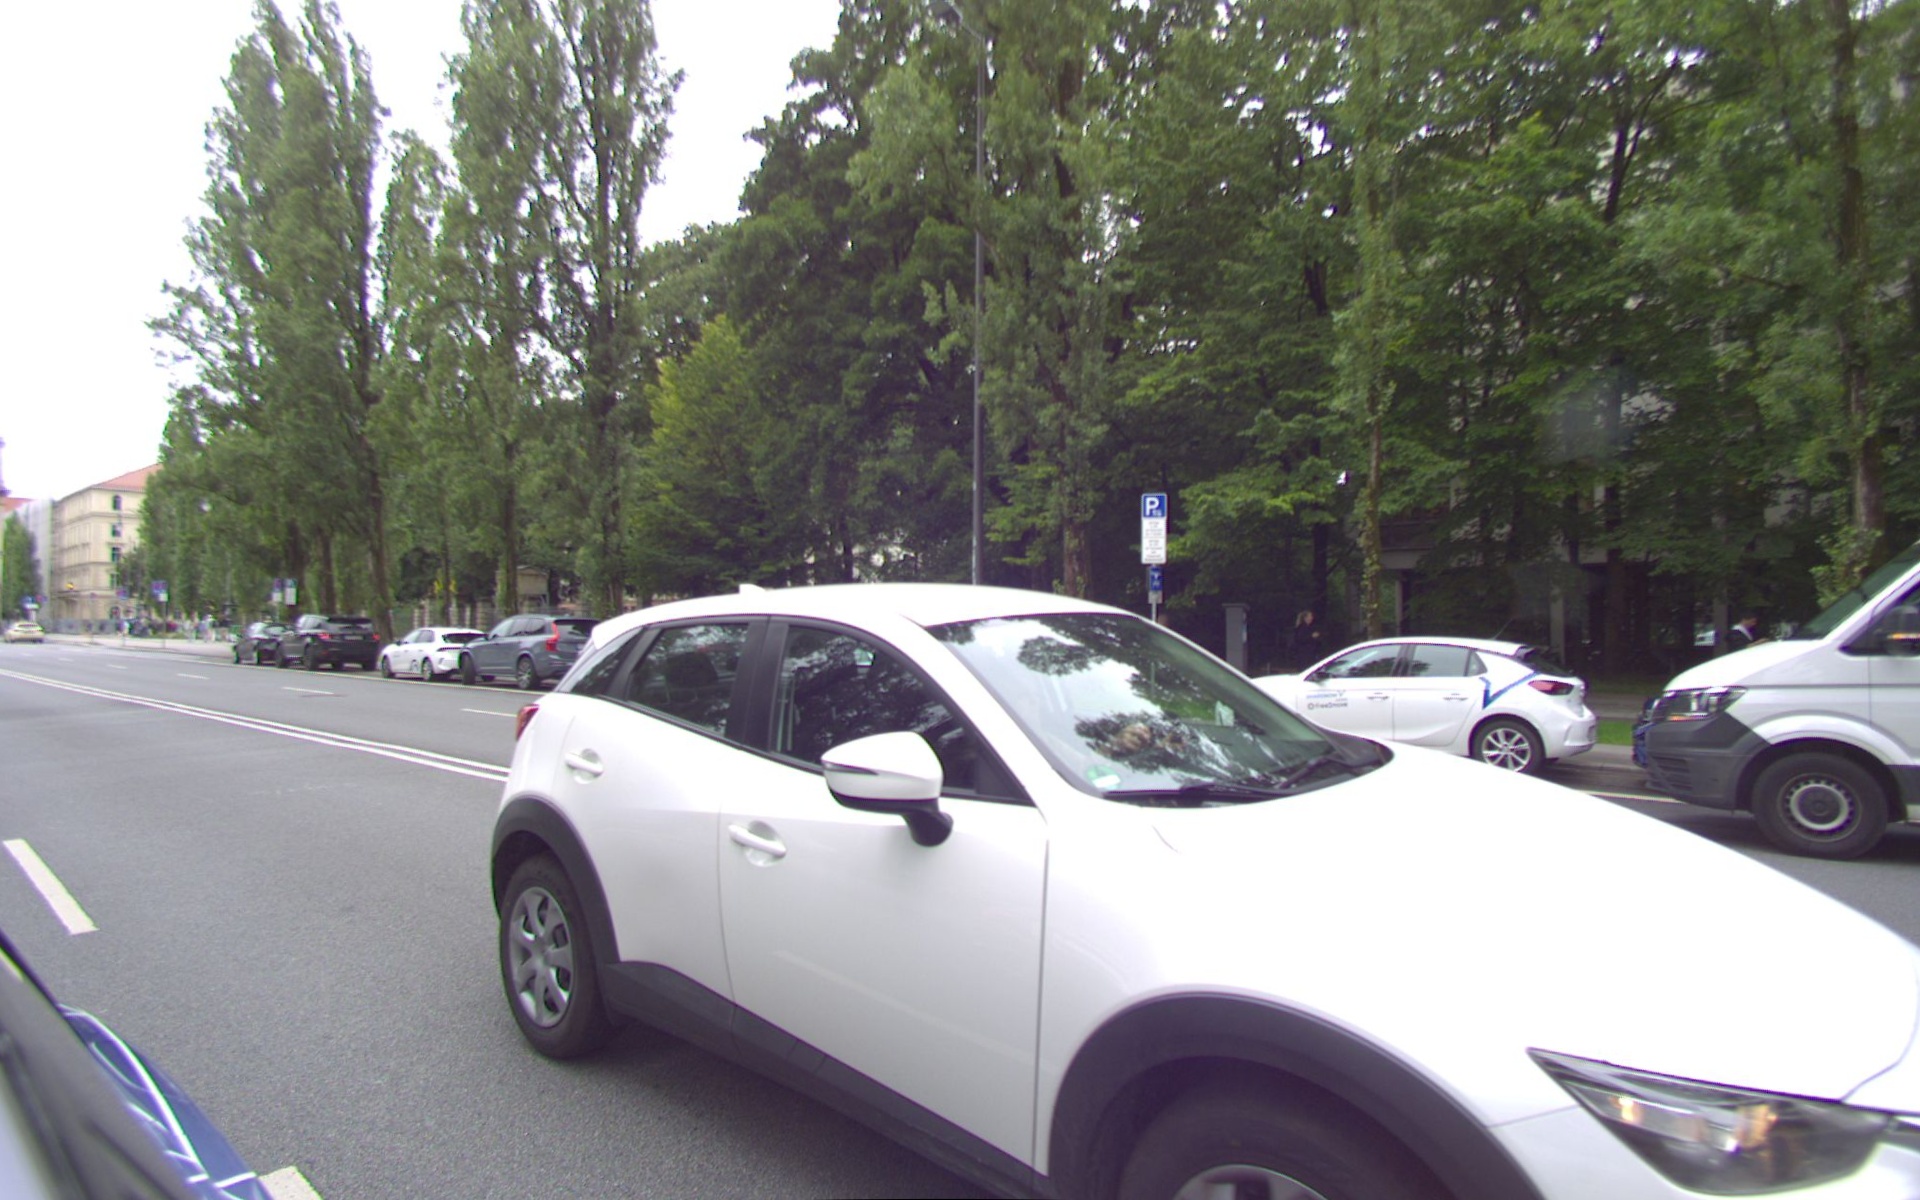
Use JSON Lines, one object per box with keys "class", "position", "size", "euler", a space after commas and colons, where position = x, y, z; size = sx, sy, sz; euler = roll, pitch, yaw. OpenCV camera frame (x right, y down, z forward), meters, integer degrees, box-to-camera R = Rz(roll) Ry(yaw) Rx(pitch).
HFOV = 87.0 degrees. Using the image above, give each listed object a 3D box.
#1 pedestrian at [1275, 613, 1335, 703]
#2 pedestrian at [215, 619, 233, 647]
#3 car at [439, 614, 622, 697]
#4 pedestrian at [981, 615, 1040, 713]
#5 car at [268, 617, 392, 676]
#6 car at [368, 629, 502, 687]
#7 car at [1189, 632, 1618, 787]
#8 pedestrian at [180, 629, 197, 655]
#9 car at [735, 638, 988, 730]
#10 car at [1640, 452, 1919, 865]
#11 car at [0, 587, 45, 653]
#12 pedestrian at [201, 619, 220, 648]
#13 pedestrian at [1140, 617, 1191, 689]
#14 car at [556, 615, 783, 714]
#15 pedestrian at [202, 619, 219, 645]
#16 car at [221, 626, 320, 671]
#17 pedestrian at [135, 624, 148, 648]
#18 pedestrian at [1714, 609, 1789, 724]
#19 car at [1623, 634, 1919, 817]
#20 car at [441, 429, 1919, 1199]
{"class": "pedestrian", "position": [6.969, 1.153, 20.462], "size": [0.956, 1.755, 0.659], "euler": [-2, -2, 41]}
{"class": "pedestrian", "position": [-47.790, 2.153, 65.712], "size": [1.092, 1.786, 0.702], "euler": [-1, -2, 39]}
{"class": "car", "position": [-10.504, 1.318, 24.553], "size": [5.175, 1.803, 1.890], "euler": [-1, -5, 40]}
{"class": "pedestrian", "position": [0.892, 1.105, 17.821], "size": [0.751, 1.677, 0.730], "euler": [-2, -3, 41]}
{"class": "car", "position": [-20.808, 1.526, 33.341], "size": [4.796, 1.800, 2.025], "euler": [-1, -4, 40]}
{"class": "car", "position": [-14.446, 1.572, 27.764], "size": [4.269, 1.470, 1.687], "euler": [-1, -4, 40]}
{"class": "car", "position": [4.985, 1.142, 11.691], "size": [4.229, 1.463, 1.753], "euler": [-1, -4, 39]}
{"class": "pedestrian", "position": [-50.375, 2.741, 66.109], "size": [0.885, 1.713, 0.681], "euler": [-2, -2, 40]}
{"class": "car", "position": [-1.741, 1.351, 17.137], "size": [4.230, 1.344, 1.808], "euler": [-1, -4, 40]}
{"class": "car", "position": [8.036, 0.362, 5.734], "size": [6.751, 2.502, 2.205], "euler": [-1, -4, 40]}
{"class": "car", "position": [-65.083, 1.402, 70.220], "size": [1.328, 4.510, 1.781], "euler": [-42, -35, 12]}
{"class": "pedestrian", "position": [-48.239, 2.127, 65.136], "size": [1.092, 1.847, 0.702], "euler": [-1, -2, 39]}
{"class": "pedestrian", "position": [4.754, 1.199, 23.403], "size": [0.881, 1.611, 0.729], "euler": [-1, -1, 41]}
{"class": "car", "position": [-5.958, 1.261, 20.475], "size": [4.890, 1.781, 1.922], "euler": [-1, -5, 39]}
{"class": "pedestrian", "position": [-49.628, 2.137, 66.990], "size": [0.910, 1.729, 0.653], "euler": [-2, -2, 40]}
{"class": "car", "position": [-25.578, 1.787, 37.492], "size": [4.386, 1.596, 1.924], "euler": [-1, -4, 41]}
{"class": "pedestrian", "position": [-59.513, 2.644, 73.615], "size": [0.581, 1.744, 0.527], "euler": [-1, -2, 29]}
{"class": "pedestrian", "position": [12.716, 1.036, 16.260], "size": [0.889, 1.785, 0.729], "euler": [-1, -1, 41]}
{"class": "car", "position": [8.098, 1.070, 8.958], "size": [3.582, 1.462, 1.692], "euler": [-1, -4, 39]}
{"class": "car", "position": [0.272, 0.655, 2.922], "size": [4.008, 1.537, 1.884], "euler": [-2, -2, 43]}
